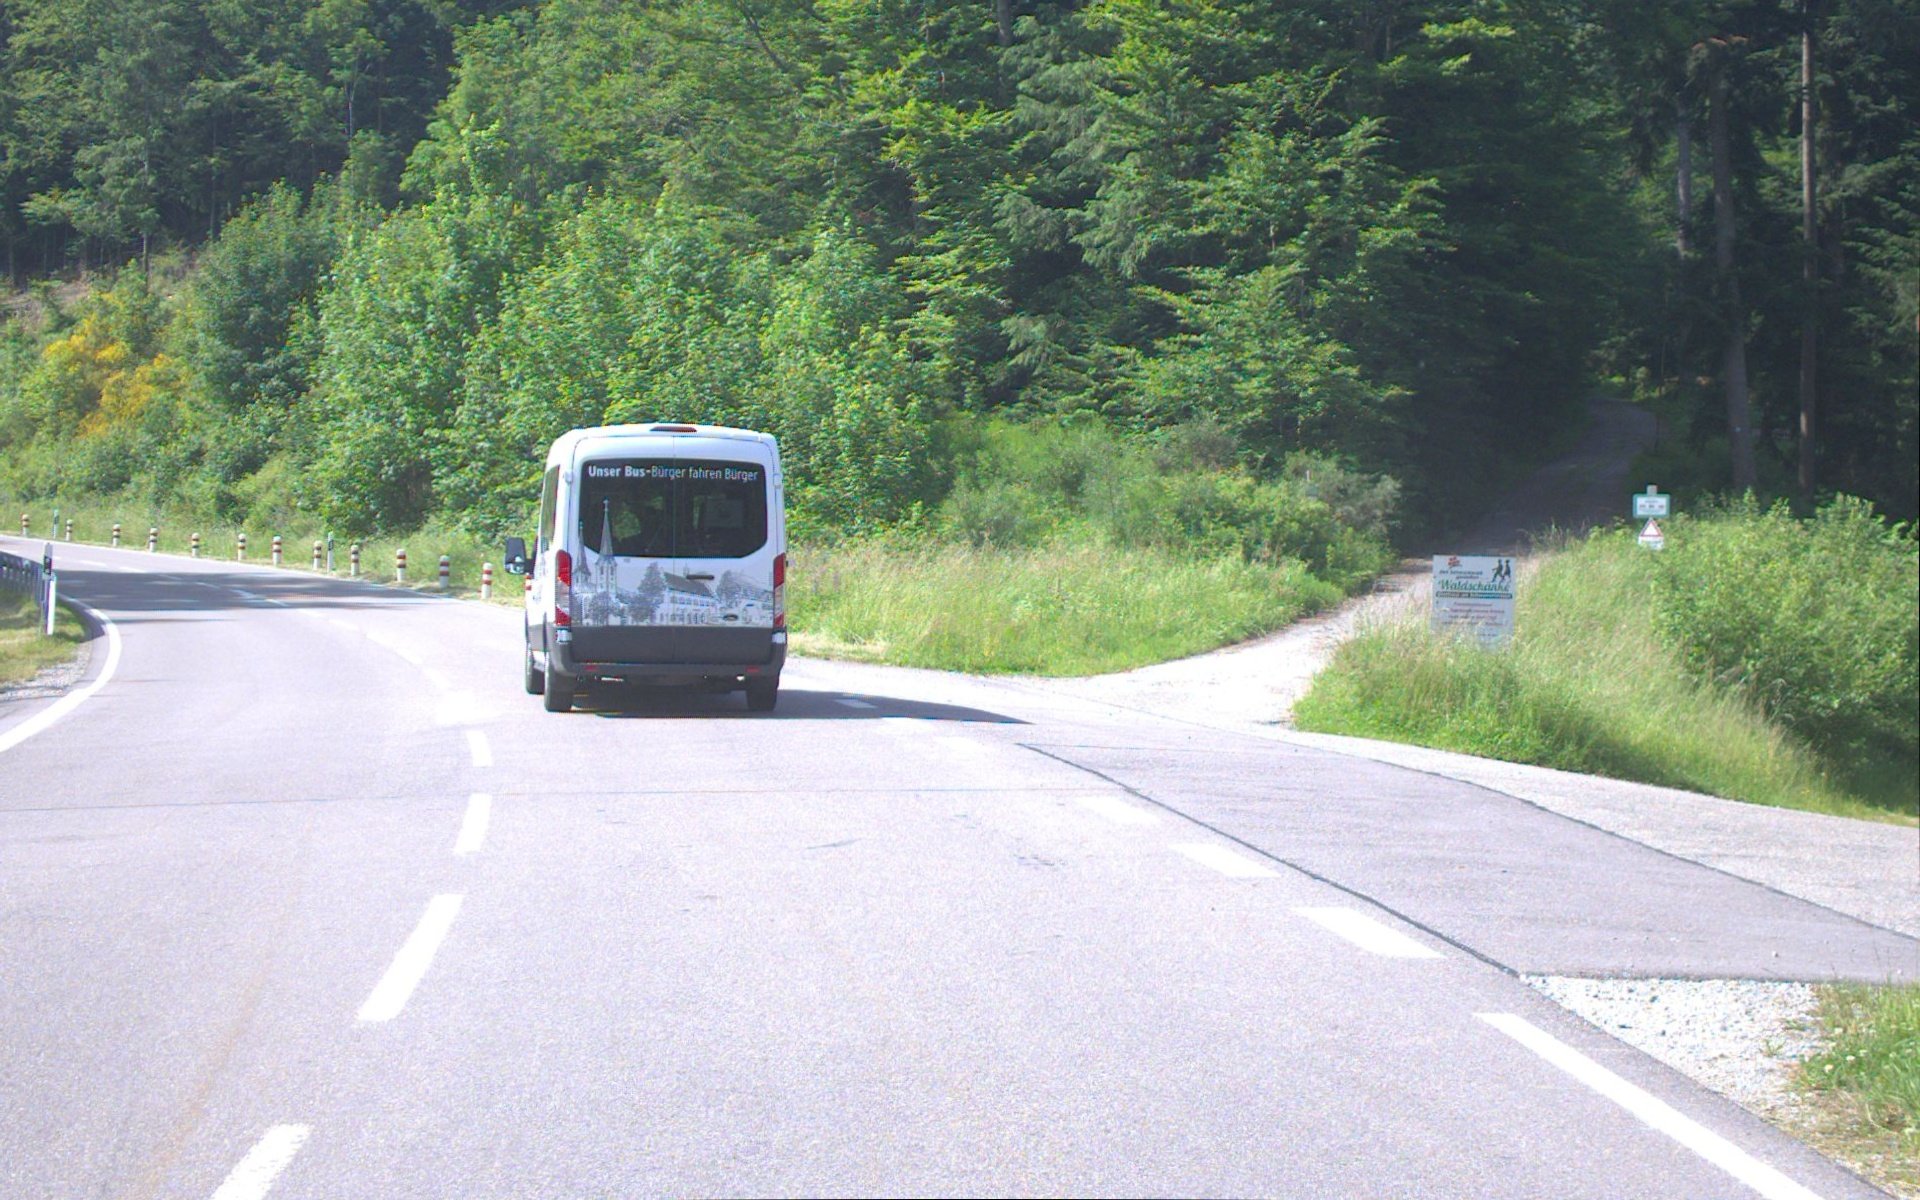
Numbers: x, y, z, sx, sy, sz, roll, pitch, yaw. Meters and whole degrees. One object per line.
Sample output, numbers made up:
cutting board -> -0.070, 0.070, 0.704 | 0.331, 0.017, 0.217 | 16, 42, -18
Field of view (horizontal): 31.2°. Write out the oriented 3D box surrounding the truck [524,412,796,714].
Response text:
truck -> -2.820, -0.356, 31.163 | 2.115, 2.489, 5.361 | 0, 1, -9
